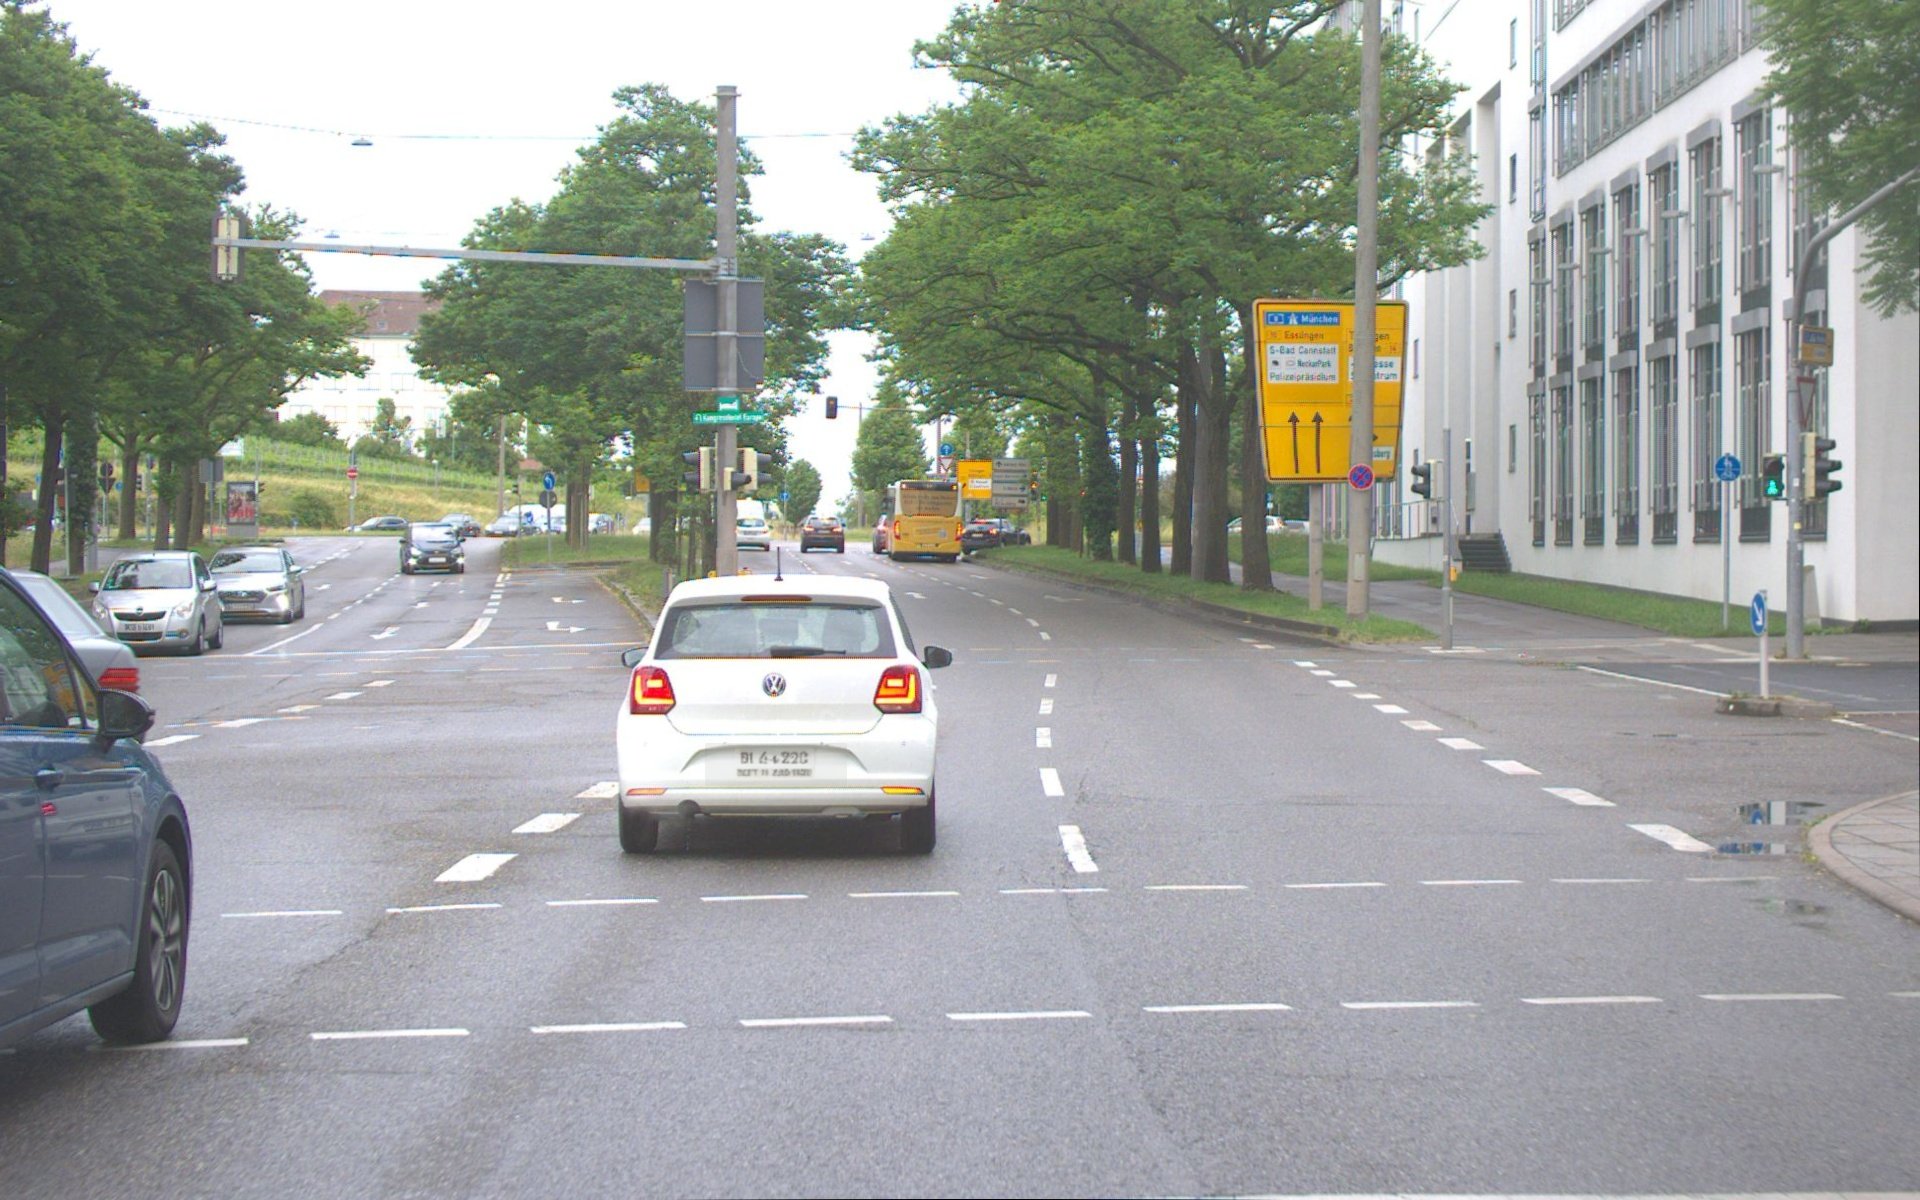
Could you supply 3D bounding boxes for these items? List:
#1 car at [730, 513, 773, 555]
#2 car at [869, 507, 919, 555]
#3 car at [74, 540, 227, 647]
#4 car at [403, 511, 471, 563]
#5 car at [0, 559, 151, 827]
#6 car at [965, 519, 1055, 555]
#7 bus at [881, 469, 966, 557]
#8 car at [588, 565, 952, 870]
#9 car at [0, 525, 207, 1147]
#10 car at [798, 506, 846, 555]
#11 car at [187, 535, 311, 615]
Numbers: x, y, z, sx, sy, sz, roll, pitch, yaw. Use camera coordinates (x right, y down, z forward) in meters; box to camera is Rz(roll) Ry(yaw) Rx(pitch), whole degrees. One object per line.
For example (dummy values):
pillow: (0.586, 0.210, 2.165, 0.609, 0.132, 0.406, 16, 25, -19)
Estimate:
car: (-8.911, -2.828, 146.808, 1.794, 1.735, 4.001, -1, 1, -4)
car: (-2.820, -2.935, 146.095, 1.993, 2.007, 4.001, 0, 1, -3)
car: (-12.349, -0.134, 52.631, 1.750, 1.515, 3.818, -1, 2, -6)
car: (-17.047, -2.064, 112.246, 1.993, 1.610, 5.122, 0, 2, -7)
car: (-6.248, 0.511, 21.311, 1.846, 1.505, 4.049, -1, 1, -21)
car: (2.137, -2.647, 145.204, 1.699, 1.510, 3.818, 0, 1, 42)
bus: (-1.471, -3.384, 132.877, 2.828, 3.255, 10.002, 1, 2, -3)
car: (-1.007, 0.564, 19.106, 1.794, 1.497, 4.000, 1, 1, -2)
car: (-3.349, 0.609, 9.113, 1.772, 1.591, 4.197, -1, 1, 0)
car: (-5.837, -2.921, 145.256, 1.993, 2.007, 4.001, 0, 1, -3)
car: (-13.680, -0.506, 66.367, 1.814, 1.406, 4.657, -2, 2, -6)
